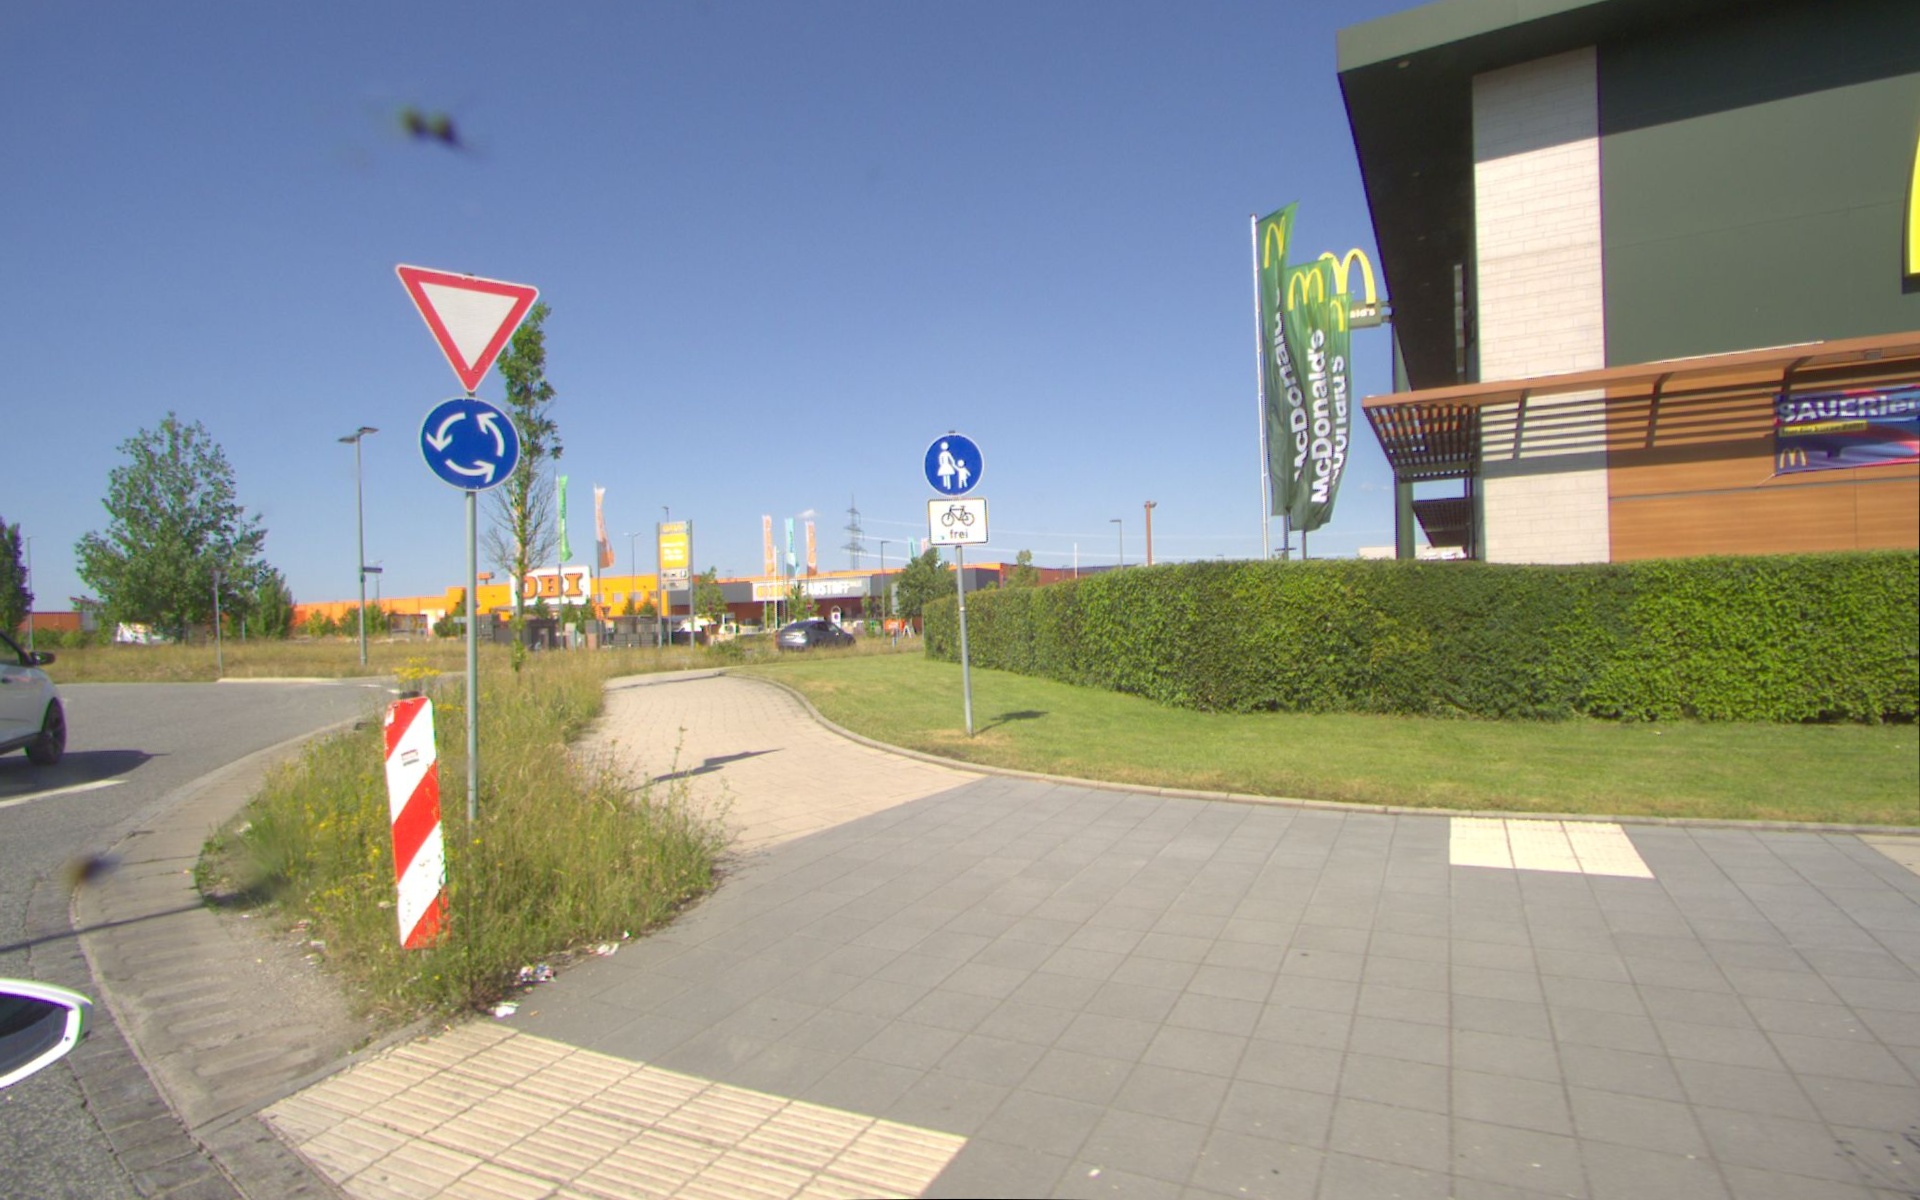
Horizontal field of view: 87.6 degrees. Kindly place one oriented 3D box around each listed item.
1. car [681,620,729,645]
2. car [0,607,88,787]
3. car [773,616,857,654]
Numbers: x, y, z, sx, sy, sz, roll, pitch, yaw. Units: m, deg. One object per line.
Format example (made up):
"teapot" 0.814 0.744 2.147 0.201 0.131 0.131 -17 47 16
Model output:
"car" -19.366 2.499 76.153 1.672 1.864 3.767 -2 -3 22
"car" -9.044 0.794 8.773 1.493 1.459 3.333 1 0 -30
"car" -6.609 1.574 46.091 1.803 1.605 4.153 -2 -1 26
